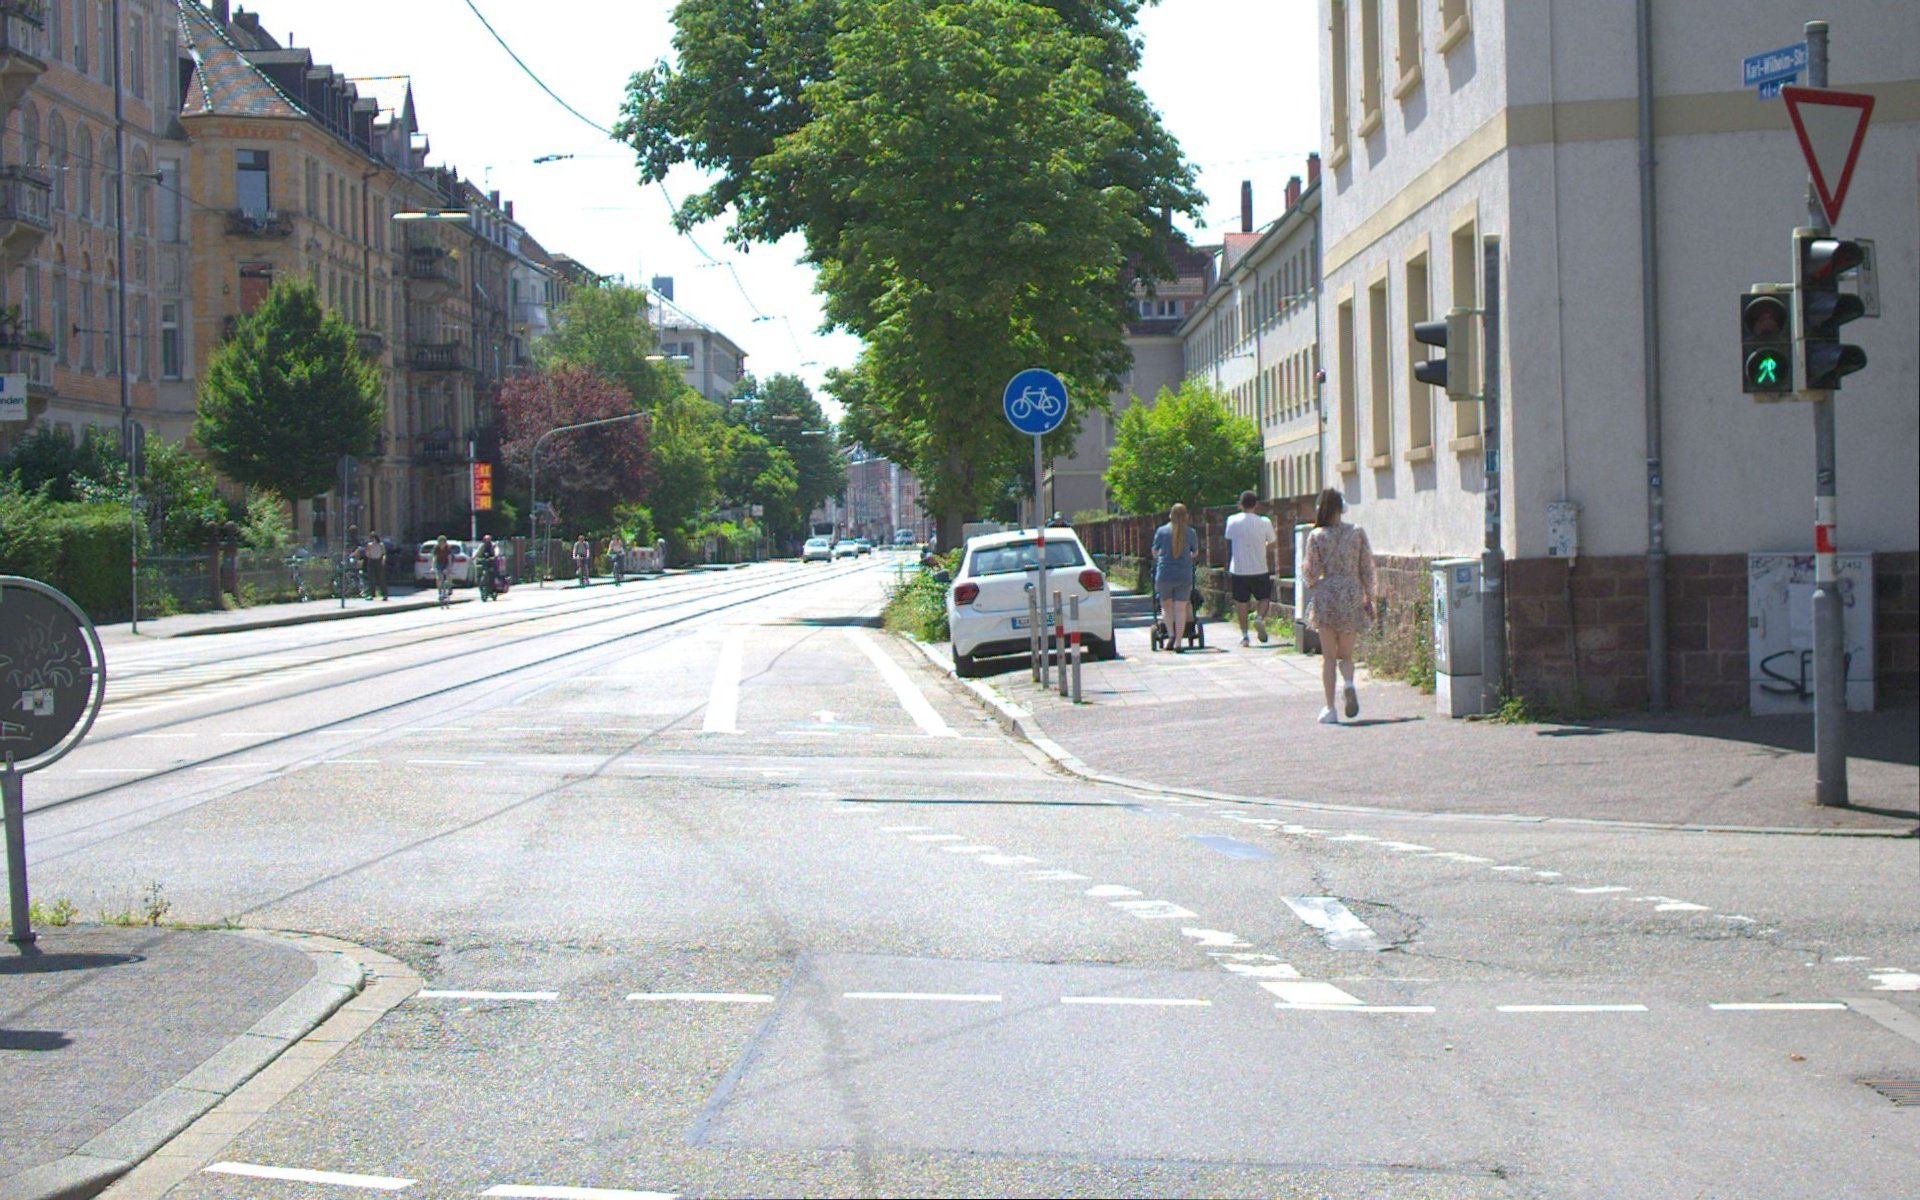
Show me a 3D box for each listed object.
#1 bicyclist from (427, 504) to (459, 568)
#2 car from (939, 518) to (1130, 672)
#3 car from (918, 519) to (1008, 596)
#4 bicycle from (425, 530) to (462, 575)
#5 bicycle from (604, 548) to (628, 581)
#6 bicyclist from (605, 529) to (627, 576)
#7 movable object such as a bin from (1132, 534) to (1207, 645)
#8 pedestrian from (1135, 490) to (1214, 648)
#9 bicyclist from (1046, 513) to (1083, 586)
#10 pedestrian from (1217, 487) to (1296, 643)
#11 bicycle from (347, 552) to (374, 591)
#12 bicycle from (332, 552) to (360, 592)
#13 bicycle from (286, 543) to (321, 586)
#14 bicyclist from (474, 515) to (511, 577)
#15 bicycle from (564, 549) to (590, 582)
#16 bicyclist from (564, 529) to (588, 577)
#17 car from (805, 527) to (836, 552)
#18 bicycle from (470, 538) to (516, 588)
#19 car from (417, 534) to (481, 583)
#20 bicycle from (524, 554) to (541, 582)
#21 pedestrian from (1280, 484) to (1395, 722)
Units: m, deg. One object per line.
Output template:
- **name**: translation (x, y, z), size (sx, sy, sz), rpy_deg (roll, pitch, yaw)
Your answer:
- **bicyclist**: translation (-12.242, -1.520, 81.419), size (0.562, 1.510, 0.892), rpy_deg (-1, 1, 1)
- **car**: translation (0.747, -0.095, 37.147), size (1.777, 1.405, 4.157), rpy_deg (-5, 1, -1)
- **car**: translation (0.043, -0.902, 71.094), size (1.656, 1.510, 4.001), rpy_deg (-1, 1, -2)
- **bicycle**: translation (-12.237, -1.135, 81.458), size (0.567, 1.034, 1.829), rpy_deg (-1, 1, 1)
- **bicycle**: translation (-11.546, -1.197, 115.499), size (0.581, 1.074, 1.891), rpy_deg (-2, 1, 0)
- **bicyclist**: translation (-11.566, -1.603, 115.510), size (0.592, 1.539, 0.952), rpy_deg (-2, 1, 0)
- **movable object such as a bin**: translation (2.354, -0.129, 38.678), size (0.697, 1.182, 1.036), rpy_deg (-4, 1, -1)
- **pedestrian**: translation (2.351, -0.346, 37.718), size (0.697, 1.664, 0.869), rpy_deg (-4, 1, -1)
- **bicyclist**: translation (2.088, -1.012, 68.734), size (0.711, 1.447, 1.010), rpy_deg (-1, 1, 2)
- **pedestrian**: translation (3.279, -0.395, 38.059), size (0.697, 1.664, 0.756), rpy_deg (-4, 1, -1)
- **bicycle**: translation (-15.613, -0.745, 89.598), size (0.438, 0.980, 1.711), rpy_deg (-1, 1, -1)
- **bicycle**: translation (-15.633, -0.725, 87.557), size (0.438, 0.980, 1.711), rpy_deg (-1, 1, -1)
- **bicycle**: translation (-15.732, -0.861, 82.410), size (0.496, 0.984, 1.711), rpy_deg (3, 1, -2)
- **bicyclist**: translation (-12.340, -1.432, 90.744), size (0.807, 1.624, 0.980), rpy_deg (-1, 1, 1)
- **bicycle**: translation (-12.838, -1.155, 115.325), size (0.629, 1.074, 1.875), rpy_deg (-2, 1, 0)
- **bicyclist**: translation (-12.861, -1.592, 115.275), size (0.634, 1.579, 1.028), rpy_deg (-2, 1, 0)
- **car**: translation (-8.598, -3.740, 212.077), size (1.684, 1.444, 4.000), rpy_deg (-2, 1, 0)
- **bicycle**: translation (-12.325, -0.992, 90.787), size (0.807, 1.267, 2.551), rpy_deg (-1, 1, 1)
- **car**: translation (-17.161, -1.412, 115.655), size (1.865, 1.594, 4.103), rpy_deg (0, 1, -5)
- **bicycle**: translation (-15.507, -1.155, 124.703), size (0.454, 1.000, 1.807), rpy_deg (-1, 1, -3)
- **pedestrian**: translation (2.699, 0.012, 24.632), size (0.697, 1.664, 0.756), rpy_deg (-1, 1, -1)
